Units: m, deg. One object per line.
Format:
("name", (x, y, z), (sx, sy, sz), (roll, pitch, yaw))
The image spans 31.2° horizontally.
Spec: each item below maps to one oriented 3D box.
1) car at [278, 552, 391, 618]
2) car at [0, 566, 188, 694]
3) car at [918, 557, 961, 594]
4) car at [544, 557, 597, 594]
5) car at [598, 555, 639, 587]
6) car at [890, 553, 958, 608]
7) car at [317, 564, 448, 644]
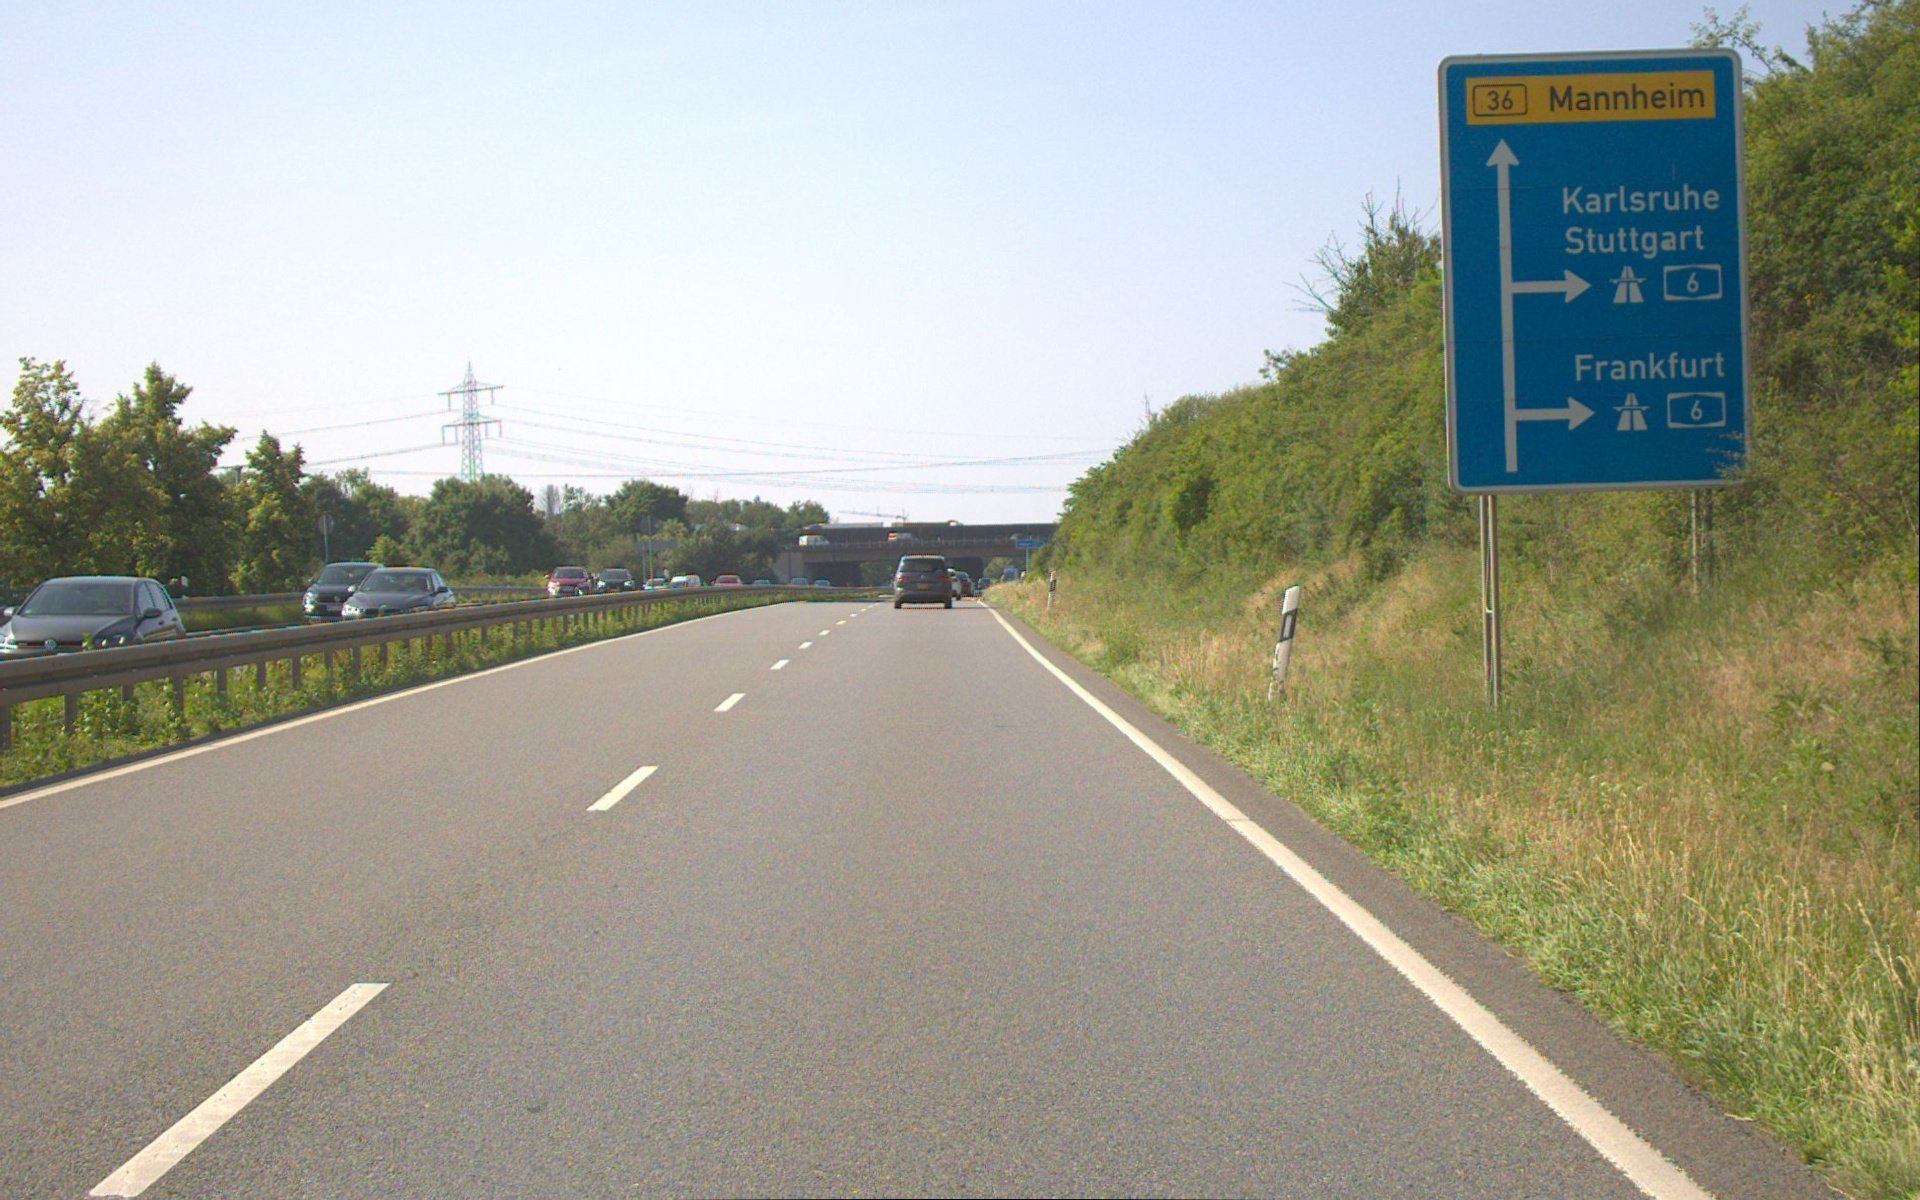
("car", (-15.055, -0.379, 82.949), (1.813, 1.536, 4.453), (-1, 1, 1))
("car", (-11.224, 0.349, 43.867), (1.839, 1.441, 4.038), (2, 1, -1))
("car", (-0.921, -1.137, 157.563), (1.796, 1.660, 4.000), (1, 1, 2))
("car", (-17.279, -1.084, 152.707), (1.843, 1.587, 4.773), (1, 0, 0))
("car", (-17.541, -1.489, 176.773), (1.726, 1.590, 4.221), (0, 0, 0))
("car", (-1.094, -0.602, 105.801), (1.850, 1.639, 4.000), (-1, 0, 2))
("car", (-11.597, 0.047, 69.275), (1.813, 1.536, 4.454), (-1, 1, 1))
